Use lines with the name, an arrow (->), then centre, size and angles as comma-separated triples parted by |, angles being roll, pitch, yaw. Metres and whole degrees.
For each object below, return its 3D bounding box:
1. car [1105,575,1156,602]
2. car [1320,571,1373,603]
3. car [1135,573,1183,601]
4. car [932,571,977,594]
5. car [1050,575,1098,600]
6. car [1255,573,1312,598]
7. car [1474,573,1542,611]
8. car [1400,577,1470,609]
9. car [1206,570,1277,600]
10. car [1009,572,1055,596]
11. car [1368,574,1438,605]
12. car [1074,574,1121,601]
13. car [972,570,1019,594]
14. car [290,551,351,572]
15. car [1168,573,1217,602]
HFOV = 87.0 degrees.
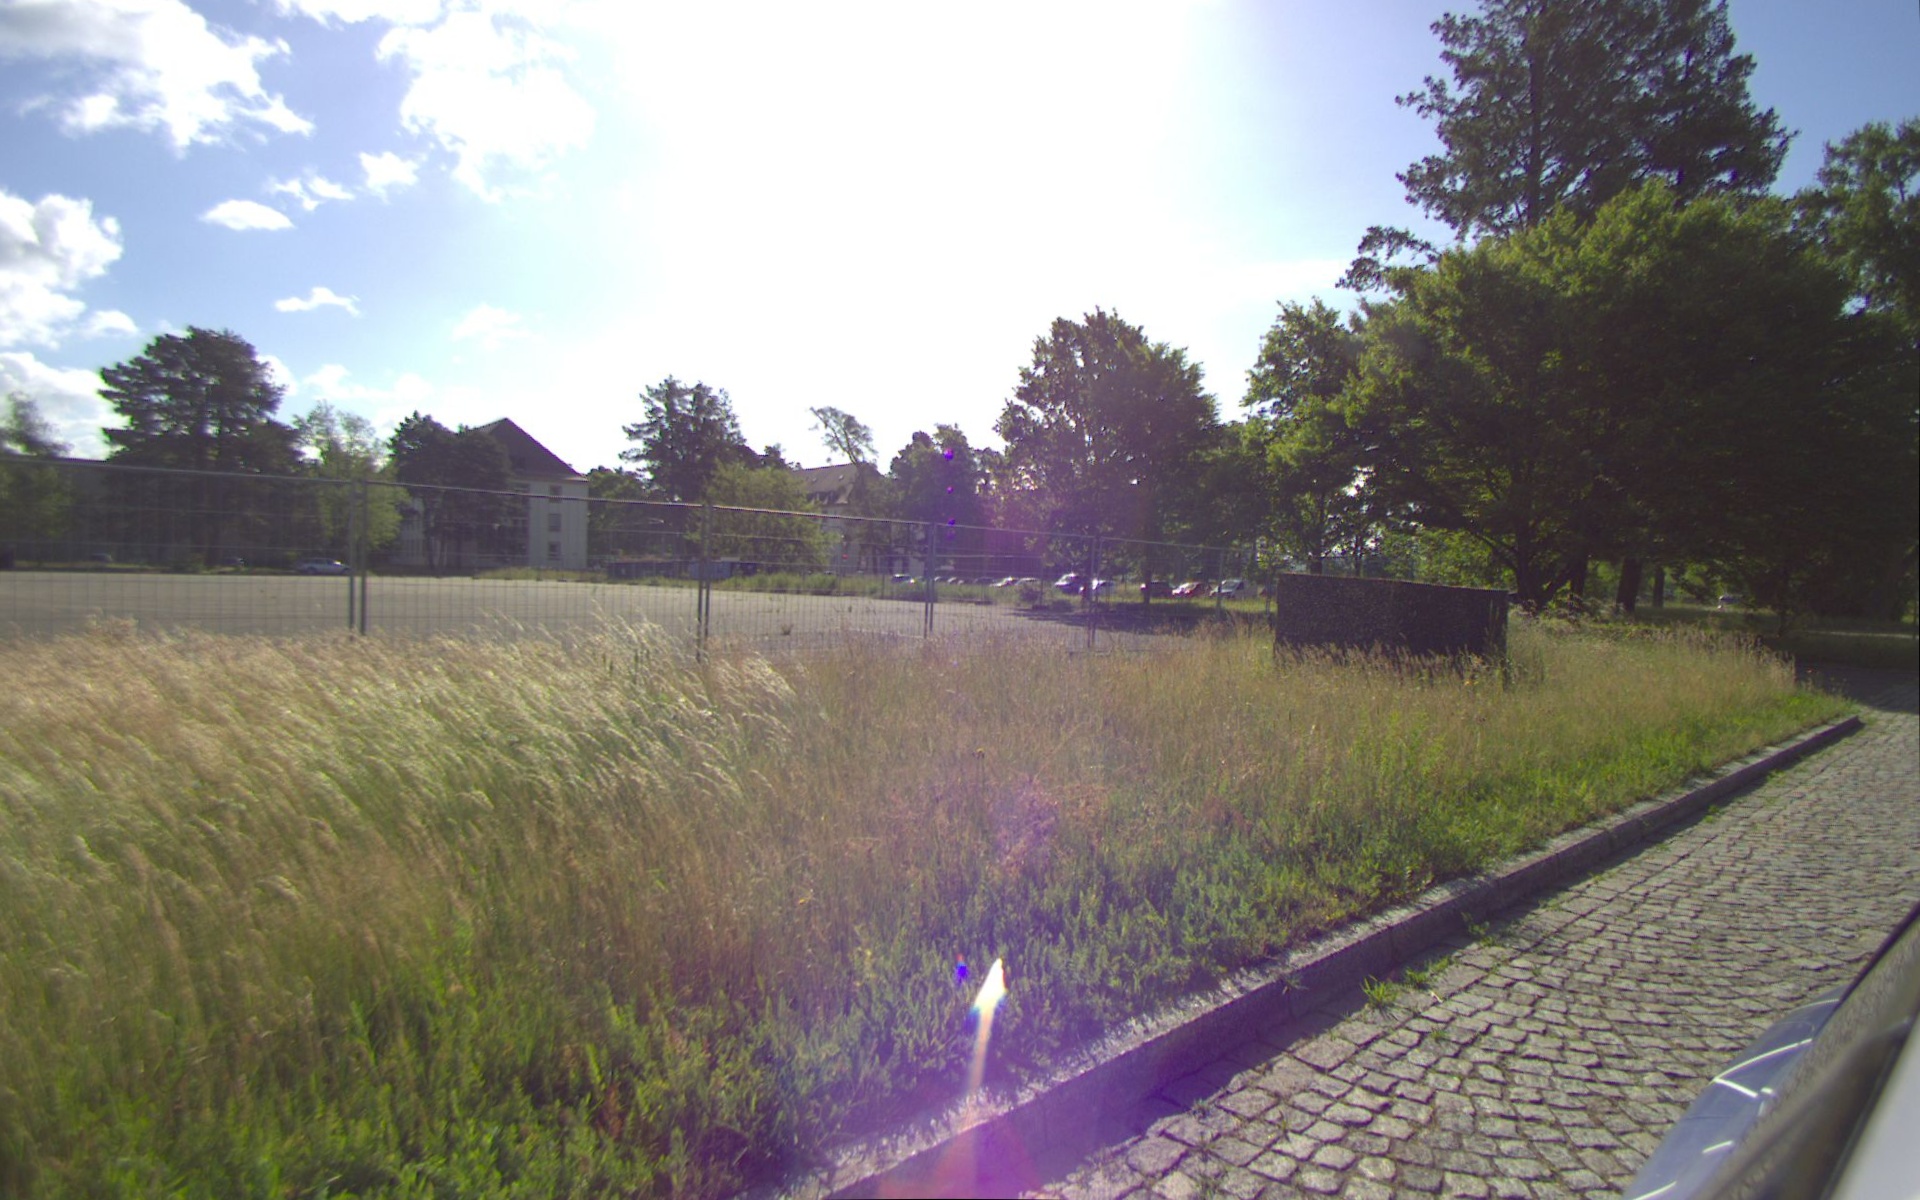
car -> 13.586, -0.926, 80.658 | 3.932, 2.038, 1.996 | 0, 2, -43
car -> 25.457, -0.871, 66.612 | 3.557, 2.038, 1.740 | 0, 2, -42
car -> 15.136, -0.962, 76.789 | 3.557, 2.038, 1.740 | 0, 2, -42
car -> -0.538, -1.655, 96.293 | 3.931, 2.038, 1.997 | 0, 2, -42
car -> 9.383, -1.029, 83.260 | 3.782, 2.038, 1.741 | 0, 2, -40
car -> 22.135, -0.982, 69.162 | 3.931, 1.672, 1.997 | 0, 2, -42
car -> 31.290, -0.474, 57.697 | 4.278, 2.038, 2.242 | 0, 2, -45
car -> 28.708, -0.430, 61.122 | 4.273, 1.861, 2.245 | 0, 2, -41
car -> 20.200, -1.102, 72.494 | 5.930, 2.039, 1.997 | -2, 2, -41
car -> 6.267, -1.386, 87.587 | 3.782, 2.038, 1.741 | 0, 2, -40
car -> 27.784, -0.655, 63.451 | 4.269, 1.861, 2.247 | 0, 2, -37
car -> 11.072, -1.011, 81.475 | 3.785, 2.038, 1.740 | 0, 2, -42
car -> 3.237, -1.618, 91.091 | 3.931, 2.038, 1.997 | 0, 2, -42
car -> -52.529, -3.142, 83.139 | 1.995, 1.602, 3.935 | 3, 2, 45
car -> 17.196, -0.947, 74.869 | 3.557, 2.038, 1.740 | 0, 2, -42
